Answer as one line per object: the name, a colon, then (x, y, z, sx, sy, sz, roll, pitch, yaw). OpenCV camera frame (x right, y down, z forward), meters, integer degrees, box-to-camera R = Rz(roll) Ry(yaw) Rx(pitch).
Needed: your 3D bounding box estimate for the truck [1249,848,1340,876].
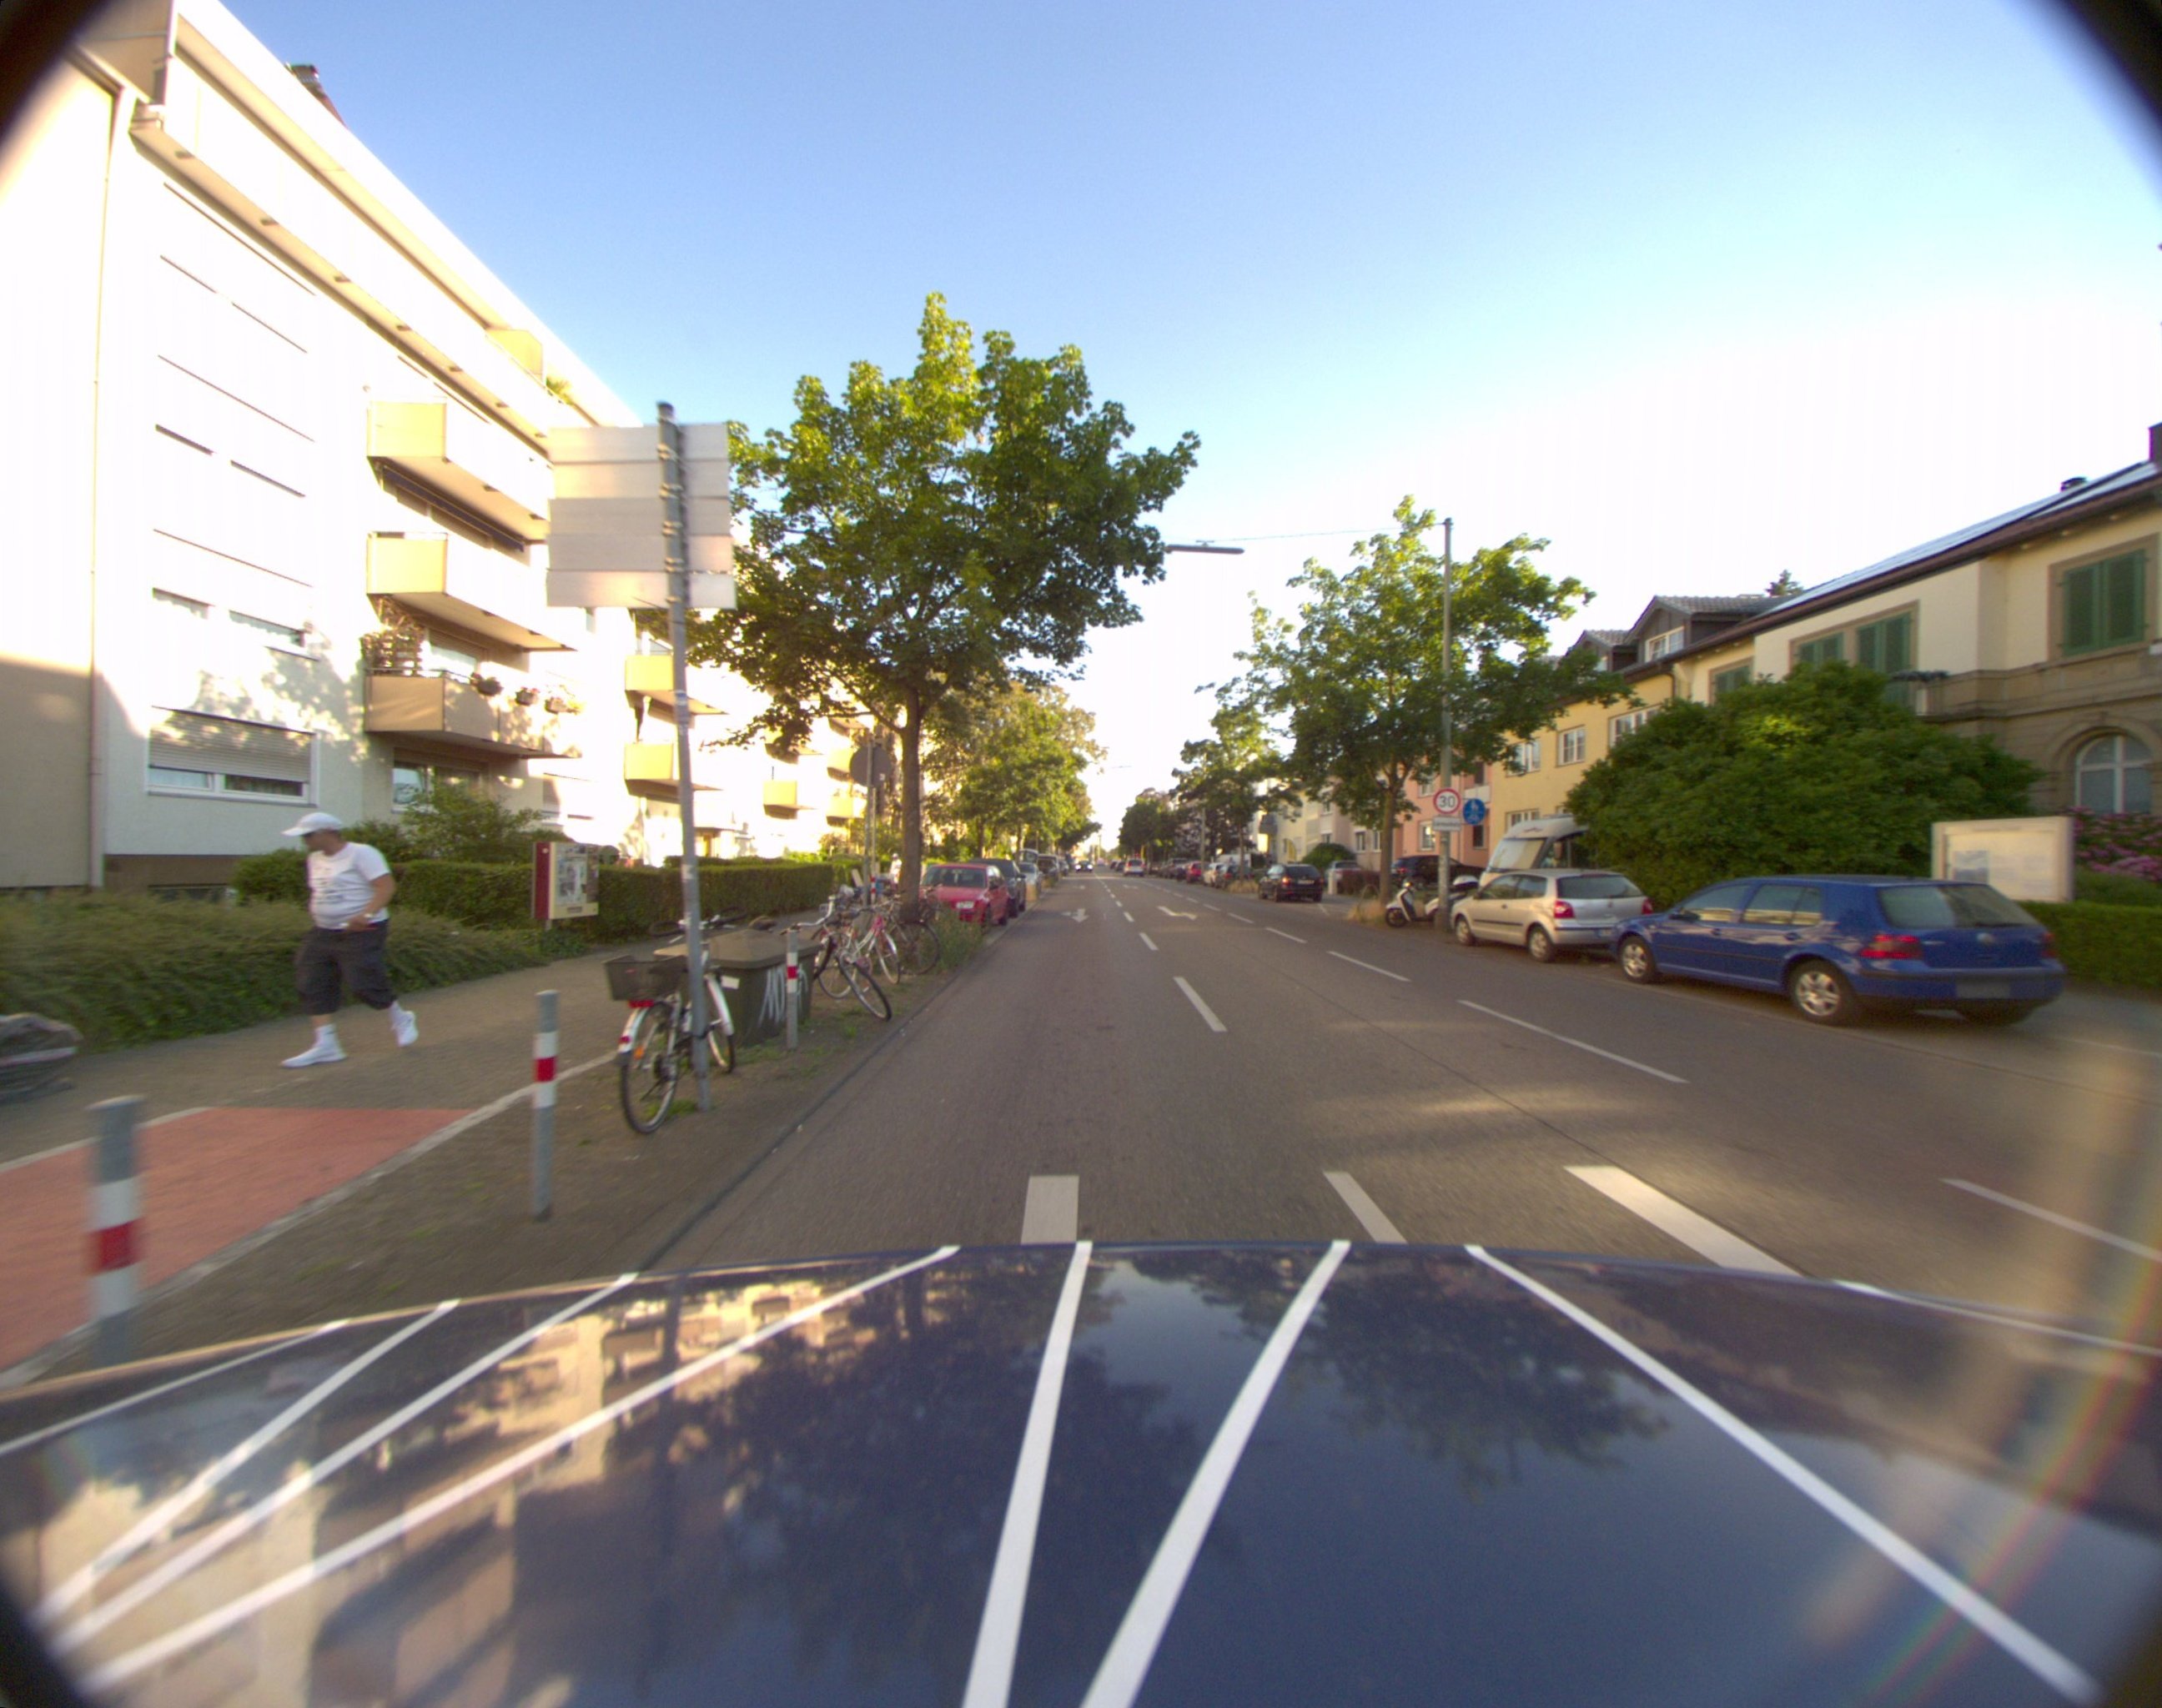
truck: (17.627, 0.649, 63.076, 6.912, 2.172, 2.276, 0, 0, 0)

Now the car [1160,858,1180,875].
car: (8.485, 1.161, 72.805, 1.577, 1.546, 2.749, 0, 0, -1)

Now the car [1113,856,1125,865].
car: (6.724, 1.138, 134.422, 1.840, 1.561, 3.999, 2, 0, 0)

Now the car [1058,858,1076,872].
car: (-1.525, 1.125, 82.126, 1.826, 1.469, 4.621, 0, 0, 1)

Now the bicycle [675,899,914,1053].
bicycle: (-2.527, 1.048, 6.799, 1.838, 1.151, 0.683, 3, 1, 7)

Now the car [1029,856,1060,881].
car: (-2.444, 0.955, 52.186, 1.860, 1.594, 4.311, 3, 0, 0)

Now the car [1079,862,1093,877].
car: (0.536, 1.794, 90.405, 1.596, 1.696, 4.000, 1, 0, 0)

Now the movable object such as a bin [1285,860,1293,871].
movable object such as a bin: (18.340, 1.017, 67.001, 0.504, 1.013, 0.450, 1, 0, -1)

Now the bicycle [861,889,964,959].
bicycle: (-2.760, 1.141, 12.513, 1.574, 1.097, 0.501, 0, 0, 1)

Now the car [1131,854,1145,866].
car: (8.697, 0.942, 115.766, 1.740, 1.799, 4.192, 0, 0, 0)

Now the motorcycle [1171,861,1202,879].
motorcycle: (7.885, 1.204, 56.922, 1.184, 1.258, 2.365, 1, 0, -24)

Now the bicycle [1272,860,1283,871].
bicycle: (18.853, 1.082, 72.902, 0.520, 1.057, 2.046, 0, 0, 0)

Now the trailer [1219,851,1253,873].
trailer: (14.451, 0.756, 71.020, 2.780, 2.002, 1.552, 1, 0, -2)

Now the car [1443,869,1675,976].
car: (7.917, 1.048, 13.049, 1.597, 1.461, 3.803, -2, 0, 0)

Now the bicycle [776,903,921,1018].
bicycle: (-2.523, 1.111, 8.414, 0.619, 1.045, 1.576, 1, 0, 27)

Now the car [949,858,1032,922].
car: (-2.464, 0.932, 21.621, 1.860, 1.572, 4.013, 2, 0, 0)

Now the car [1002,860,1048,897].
car: (-2.474, 1.049, 34.450, 1.712, 1.472, 4.268, 2, 0, 0)

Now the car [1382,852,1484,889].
car: (16.719, 0.782, 36.230, 3.997, 1.626, 1.866, -2, 0, 1)

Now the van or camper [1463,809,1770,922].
van or camper: (14.586, 0.302, 21.019, 6.815, 2.756, 2.352, -2, 0, -1)

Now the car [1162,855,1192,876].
car: (8.421, 0.985, 66.980, 1.892, 1.769, 4.726, 0, 0, -1)

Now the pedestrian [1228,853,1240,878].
pedestrian: (10.846, 0.795, 53.918, 0.715, 1.782, 0.506, 1, 0, 3)

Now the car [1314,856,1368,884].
car: (13.959, 0.850, 40.984, 1.669, 1.400, 3.753, 1, 0, 2)

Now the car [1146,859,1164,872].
car: (8.271, 1.230, 85.137, 1.641, 1.399, 4.444, 0, 0, 0)

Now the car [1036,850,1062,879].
car: (-2.416, 0.781, 58.621, 1.908, 2.091, 4.640, 0, 0, -1)

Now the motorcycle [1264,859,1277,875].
motorcycle: (17.343, 1.163, 69.631, 0.572, 1.366, 2.258, 3, 0, 0)

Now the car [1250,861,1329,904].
car: (8.113, 1.059, 29.969, 1.872, 1.486, 4.517, -1, 0, 1)

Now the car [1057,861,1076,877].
car: (-1.365, 1.393, 73.005, 1.762, 1.412, 4.614, 3, 0, 0)

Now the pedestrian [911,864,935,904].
pedestrian: (-6.134, 1.156, 29.479, 0.592, 1.531, 0.697, 1, 0, 37)

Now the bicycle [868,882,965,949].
bicycle: (-2.801, 1.041, 13.009, 1.574, 1.097, 0.392, 0, 0, 1)

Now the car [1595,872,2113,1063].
car: (7.943, 1.015, 8.487, 1.653, 1.508, 4.073, -1, 0, 0)

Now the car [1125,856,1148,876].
car: (5.326, 1.109, 73.913, 1.810, 1.794, 4.745, 2, 0, 0)

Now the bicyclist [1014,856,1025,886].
bicyclist: (-3.745, 1.004, 46.051, 0.582, 1.778, 0.852, 0, 0, 0)

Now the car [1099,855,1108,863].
car: (5.727, 1.240, 193.467, 1.893, 1.793, 4.430, 2, 0, -1)

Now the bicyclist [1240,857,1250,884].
bicyclist: (10.212, 1.046, 47.253, 0.470, 1.653, 0.552, 0, 0, 0)

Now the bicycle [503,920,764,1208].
bicycle: (-2.471, 1.061, 4.486, 0.503, 1.141, 1.958, 3, 0, -5)

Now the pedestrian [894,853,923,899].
pedestrian: (-6.290, 0.795, 27.767, 0.694, 1.630, 0.759, 1, 0, 36)

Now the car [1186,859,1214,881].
car: (8.232, 1.082, 52.718, 1.596, 1.514, 3.437, 0, 0, 3)

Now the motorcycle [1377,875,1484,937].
motorcycle: (7.870, 1.134, 17.165, 2.048, 1.257, 0.769, 1, 0, 39)

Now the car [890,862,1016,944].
car: (-2.581, 0.944, 16.287, 1.707, 1.441, 4.015, 2, 0, 4)

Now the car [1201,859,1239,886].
car: (8.534, 1.108, 46.902, 1.597, 1.514, 3.890, 0, 0, -1)

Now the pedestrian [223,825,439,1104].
pedestrian: (-5.081, 0.696, 5.197, 0.664, 1.739, 0.773, 2, 1, 7)

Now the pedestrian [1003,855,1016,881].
pedestrian: (-4.831, 0.936, 51.215, 0.823, 1.763, 1.089, 0, 0, -4)

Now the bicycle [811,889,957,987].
bicycle: (-2.517, 1.054, 9.759, 1.690, 1.101, 0.517, 3, 1, 7)

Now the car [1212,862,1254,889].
car: (8.345, 1.154, 41.907, 1.547, 1.388, 3.666, 0, 0, 0)

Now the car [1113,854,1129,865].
car: (5.456, 0.764, 103.328, 1.765, 1.443, 4.533, 3, 0, -1)
